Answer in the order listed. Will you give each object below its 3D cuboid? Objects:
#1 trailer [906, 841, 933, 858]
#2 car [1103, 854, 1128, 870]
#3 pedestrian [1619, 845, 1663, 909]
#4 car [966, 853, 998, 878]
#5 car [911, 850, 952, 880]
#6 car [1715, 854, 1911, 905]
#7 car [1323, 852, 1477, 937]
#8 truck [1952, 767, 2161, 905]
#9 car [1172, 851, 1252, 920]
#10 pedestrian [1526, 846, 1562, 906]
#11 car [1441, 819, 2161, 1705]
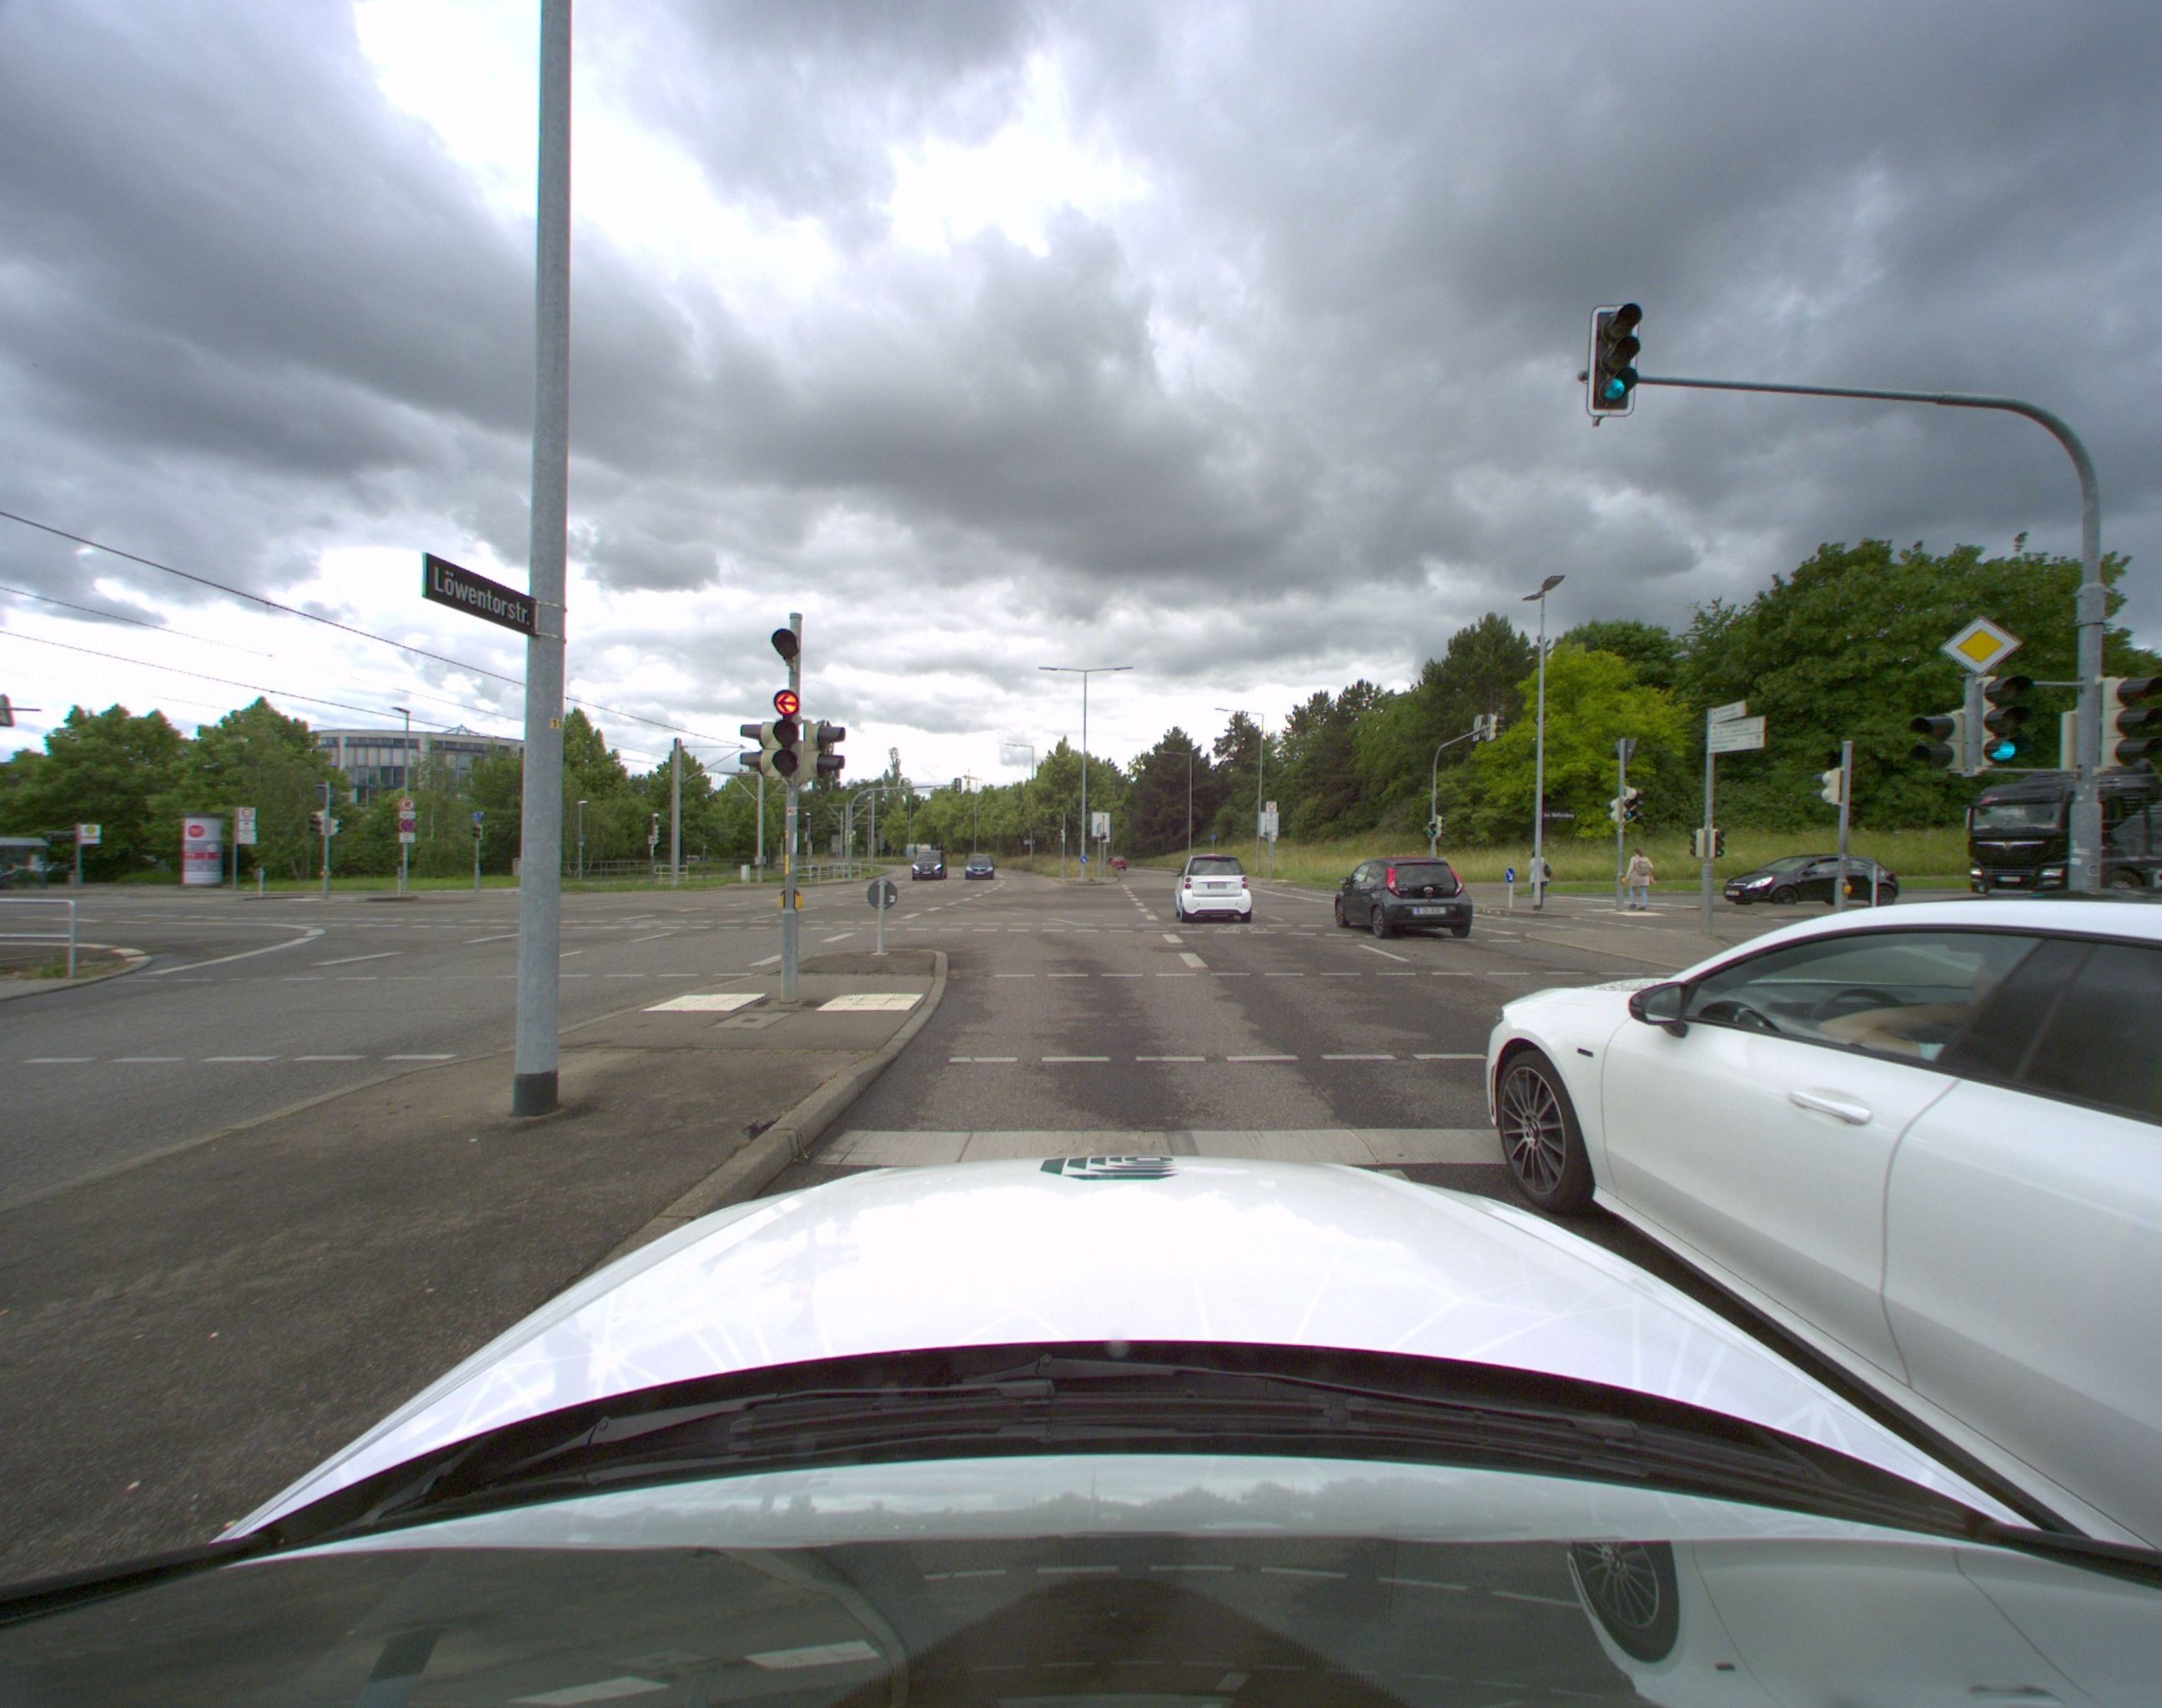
[{"bbox_3d":[-29.651,-0.766,149.166,2.767,3.012,6.022,0,-1,-35],"label":"trailer"},{"bbox_3d":[3.582,0.851,85.421,1.786,1.603,3.871,0,-1,-12],"label":"car"},{"bbox_3d":[14.224,0.583,20.696,0.640,1.612,0.715,0,-1,7],"label":"pedestrian"},{"bbox_3d":[-6.270,0.746,51.812,1.732,1.508,3.656,0,-1,-3],"label":"car"},{"bbox_3d":[-9.576,0.683,52.540,1.883,1.812,5.087,-1,0,-3],"label":"car"},{"bbox_3d":[20.335,0.695,22.750,3.859,1.338,1.698,0,-1,4],"label":"car"},{"bbox_3d":[6.050,0.708,15.940,1.607,1.453,3.883,0,-1,2],"label":"car"},{"bbox_3d":[28.337,-0.489,22.218,5.971,3.486,2.694,-1,-1,4],"label":"truck"},{"bbox_3d":[3.038,0.713,19.305,1.585,1.516,2.768,0,-1,3],"label":"car"},{"bbox_3d":[12.995,0.605,22.871,0.640,1.662,0.715,0,-1,8],"label":"pedestrian"},{"bbox_3d":[2.784,0.694,2.138,1.837,1.506,4.533,0,-1,2],"label":"car"}]
